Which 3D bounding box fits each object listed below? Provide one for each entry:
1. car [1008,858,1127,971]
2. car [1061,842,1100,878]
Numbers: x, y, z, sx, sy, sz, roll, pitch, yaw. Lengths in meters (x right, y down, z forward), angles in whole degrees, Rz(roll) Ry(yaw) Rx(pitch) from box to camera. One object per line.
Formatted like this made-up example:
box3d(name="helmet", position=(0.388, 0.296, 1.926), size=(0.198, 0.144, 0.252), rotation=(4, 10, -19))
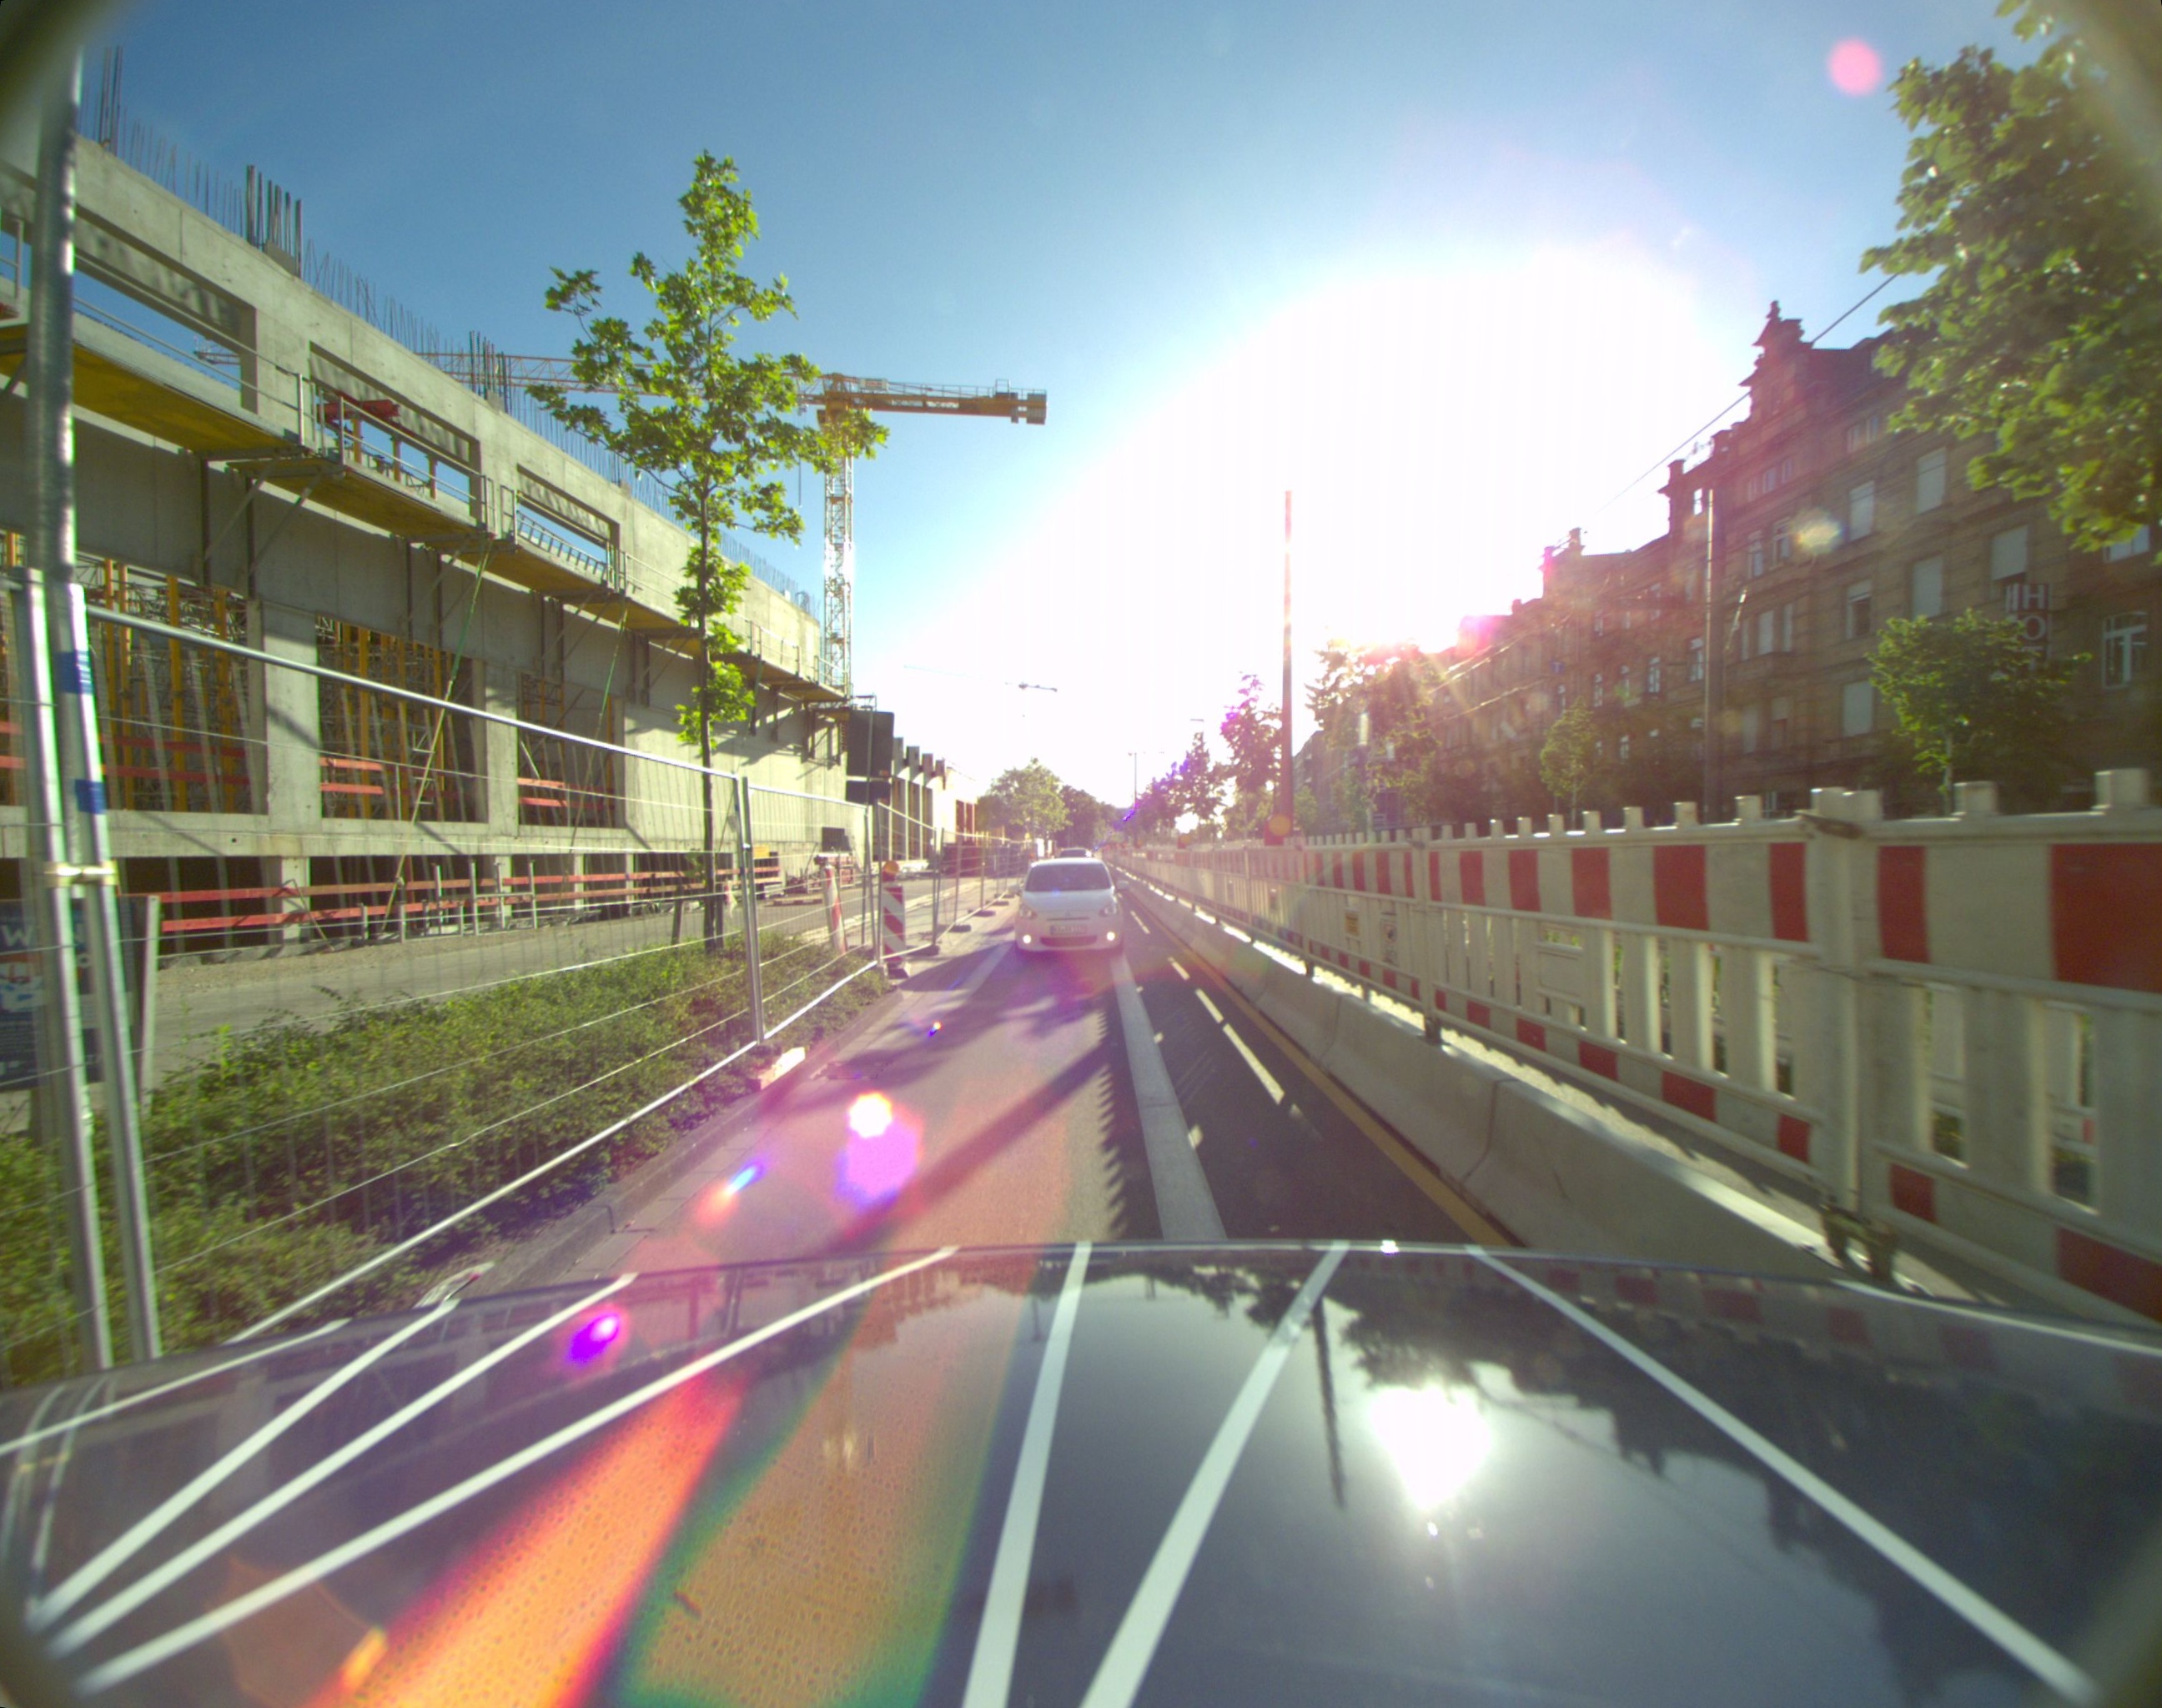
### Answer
box3d(name="car", position=(-0.163, 0.878, 13.041), size=(1.634, 1.499, 4.350), rotation=(-2, 1, 1))
box3d(name="car", position=(-0.027, 0.265, 39.892), size=(1.900, 1.730, 3.999), rotation=(-1, 1, 0))
